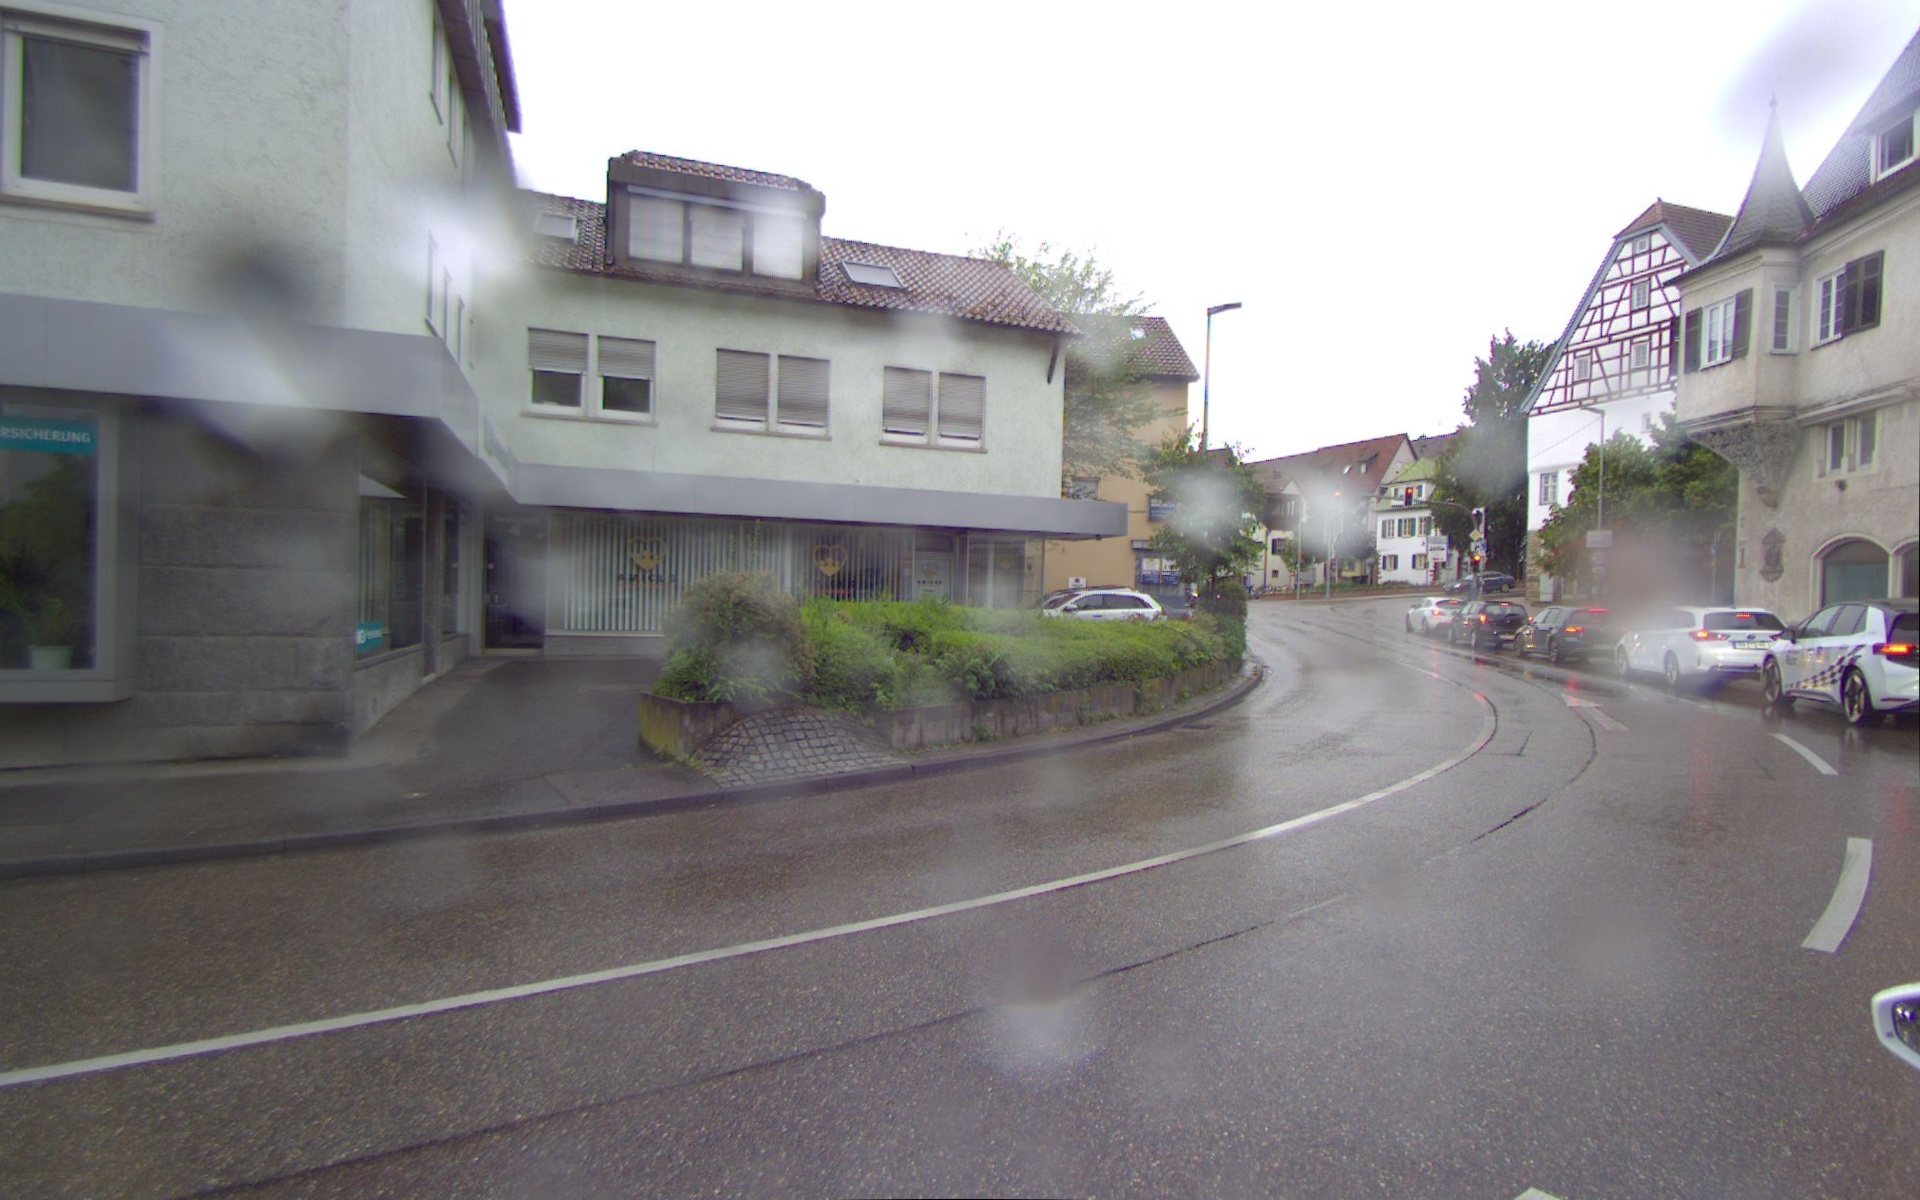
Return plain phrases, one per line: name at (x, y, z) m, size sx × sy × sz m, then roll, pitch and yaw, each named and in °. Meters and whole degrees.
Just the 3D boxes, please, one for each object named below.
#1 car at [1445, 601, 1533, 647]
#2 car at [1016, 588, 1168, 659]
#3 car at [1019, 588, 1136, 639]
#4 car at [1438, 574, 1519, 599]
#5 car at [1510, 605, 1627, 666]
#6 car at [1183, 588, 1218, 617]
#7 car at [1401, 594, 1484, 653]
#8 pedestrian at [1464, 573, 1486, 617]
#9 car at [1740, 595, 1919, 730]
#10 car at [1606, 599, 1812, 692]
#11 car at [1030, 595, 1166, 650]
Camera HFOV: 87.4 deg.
car at (16.957, 0.741, 32.372) m, size 1.634 × 1.330 × 3.625 m, roll -1°, pitch 1°, yaw 13°
car at (3.269, 0.566, 25.219) m, size 3.472 × 1.708 × 1.710 m, roll 0°, pitch 1°, yaw -8°
car at (3.785, 0.411, 32.720) m, size 3.472 × 1.597 × 1.710 m, roll 0°, pitch 1°, yaw -8°
car at (33.502, -0.889, 64.990) m, size 4.446 × 1.409 × 1.648 m, roll 1°, pitch 7°, yaw -8°
car at (15.638, 0.868, 26.002) m, size 1.493 × 1.380 × 3.769 m, roll -1°, pitch 1°, yaw 13°
car at (13.533, 0.162, 56.390) m, size 1.703 × 1.530 × 4.275 m, roll -1°, pitch -1°, yaw 16°
car at (18.634, 0.857, 38.989) m, size 1.939 × 2.118 × 3.962 m, roll -1°, pitch 1°, yaw 11°
pedestrian at (27.784, -0.247, 54.236) m, size 0.851 × 2.357 × 1.231 m, roll 1°, pitch 0°, yaw 18°
car at (12.127, 0.724, 13.299) m, size 1.760 × 1.537 × 4.239 m, roll -1°, pitch -1°, yaw 22°
car at (13.947, 0.768, 19.005) m, size 1.755 × 1.485 × 4.165 m, roll -1°, pitch 1°, yaw 16°
car at (3.854, 0.608, 28.270) m, size 3.472 × 1.475 × 1.710 m, roll 0°, pitch 1°, yaw -8°
